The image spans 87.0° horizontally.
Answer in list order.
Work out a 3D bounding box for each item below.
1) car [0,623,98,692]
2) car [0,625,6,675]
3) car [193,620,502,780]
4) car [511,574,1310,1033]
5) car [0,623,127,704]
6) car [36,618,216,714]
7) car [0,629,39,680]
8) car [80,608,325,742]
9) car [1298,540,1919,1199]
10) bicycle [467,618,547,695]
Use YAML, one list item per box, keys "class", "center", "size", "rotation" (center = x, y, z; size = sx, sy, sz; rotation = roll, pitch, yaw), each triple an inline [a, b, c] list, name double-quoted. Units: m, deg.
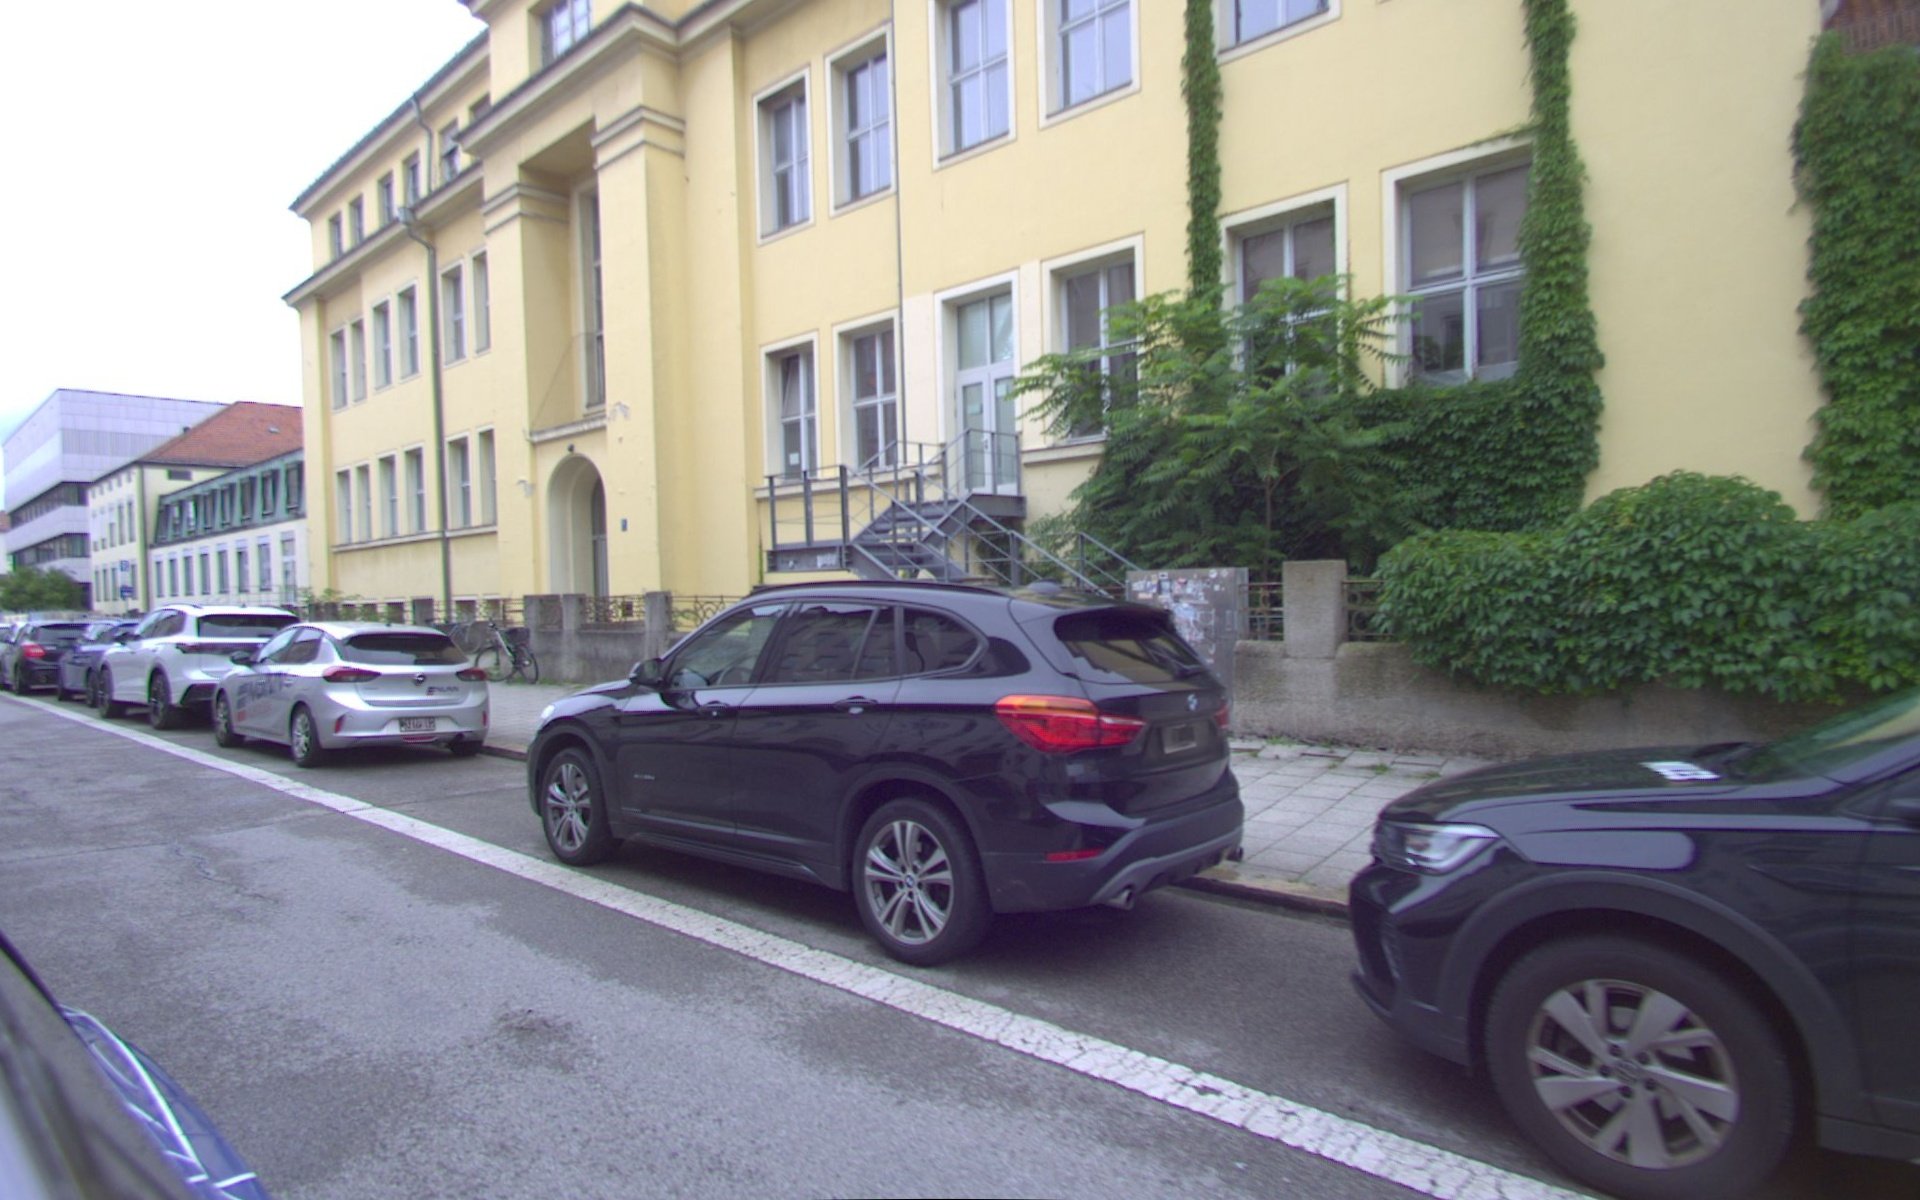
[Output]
- class: "car"
  center: [-22.596, 1.378, 24.708]
  size: [4.084, 1.539, 1.705]
  rotation: [-2, -4, 41]
- class: "car"
  center: [-32.520, 1.611, 32.865]
  size: [3.992, 1.578, 1.658]
  rotation: [-2, -3, 39]
- class: "car"
  center: [-6.765, 0.971, 11.031]
  size: [3.891, 1.437, 1.663]
  rotation: [-1, -4, 40]
- class: "car"
  center: [-0.507, 0.757, 5.454]
  size: [4.190, 1.550, 1.764]
  rotation: [-1, -3, 39]
- class: "car"
  center: [-18.737, 1.246, 20.914]
  size: [3.983, 1.507, 1.662]
  rotation: [-1, -3, 41]
- class: "car"
  center: [-14.812, 1.115, 17.915]
  size: [3.968, 1.516, 1.663]
  rotation: [-2, -3, 39]
- class: "car"
  center: [-28.268, 1.566, 29.373]
  size: [3.992, 1.408, 1.658]
  rotation: [-2, -3, 39]
- class: "car"
  center: [-10.879, 0.999, 14.426]
  size: [4.351, 1.646, 1.664]
  rotation: [-1, -4, 38]
- class: "car"
  center: [3.120, 0.664, 2.263]
  size: [4.144, 1.550, 1.764]
  rotation: [-2, -3, 39]
- class: "bicycle"
  center: [-7.684, 0.931, 17.150]
  size: [1.561, 1.197, 0.571]
  rotation: [-1, 3, 41]
